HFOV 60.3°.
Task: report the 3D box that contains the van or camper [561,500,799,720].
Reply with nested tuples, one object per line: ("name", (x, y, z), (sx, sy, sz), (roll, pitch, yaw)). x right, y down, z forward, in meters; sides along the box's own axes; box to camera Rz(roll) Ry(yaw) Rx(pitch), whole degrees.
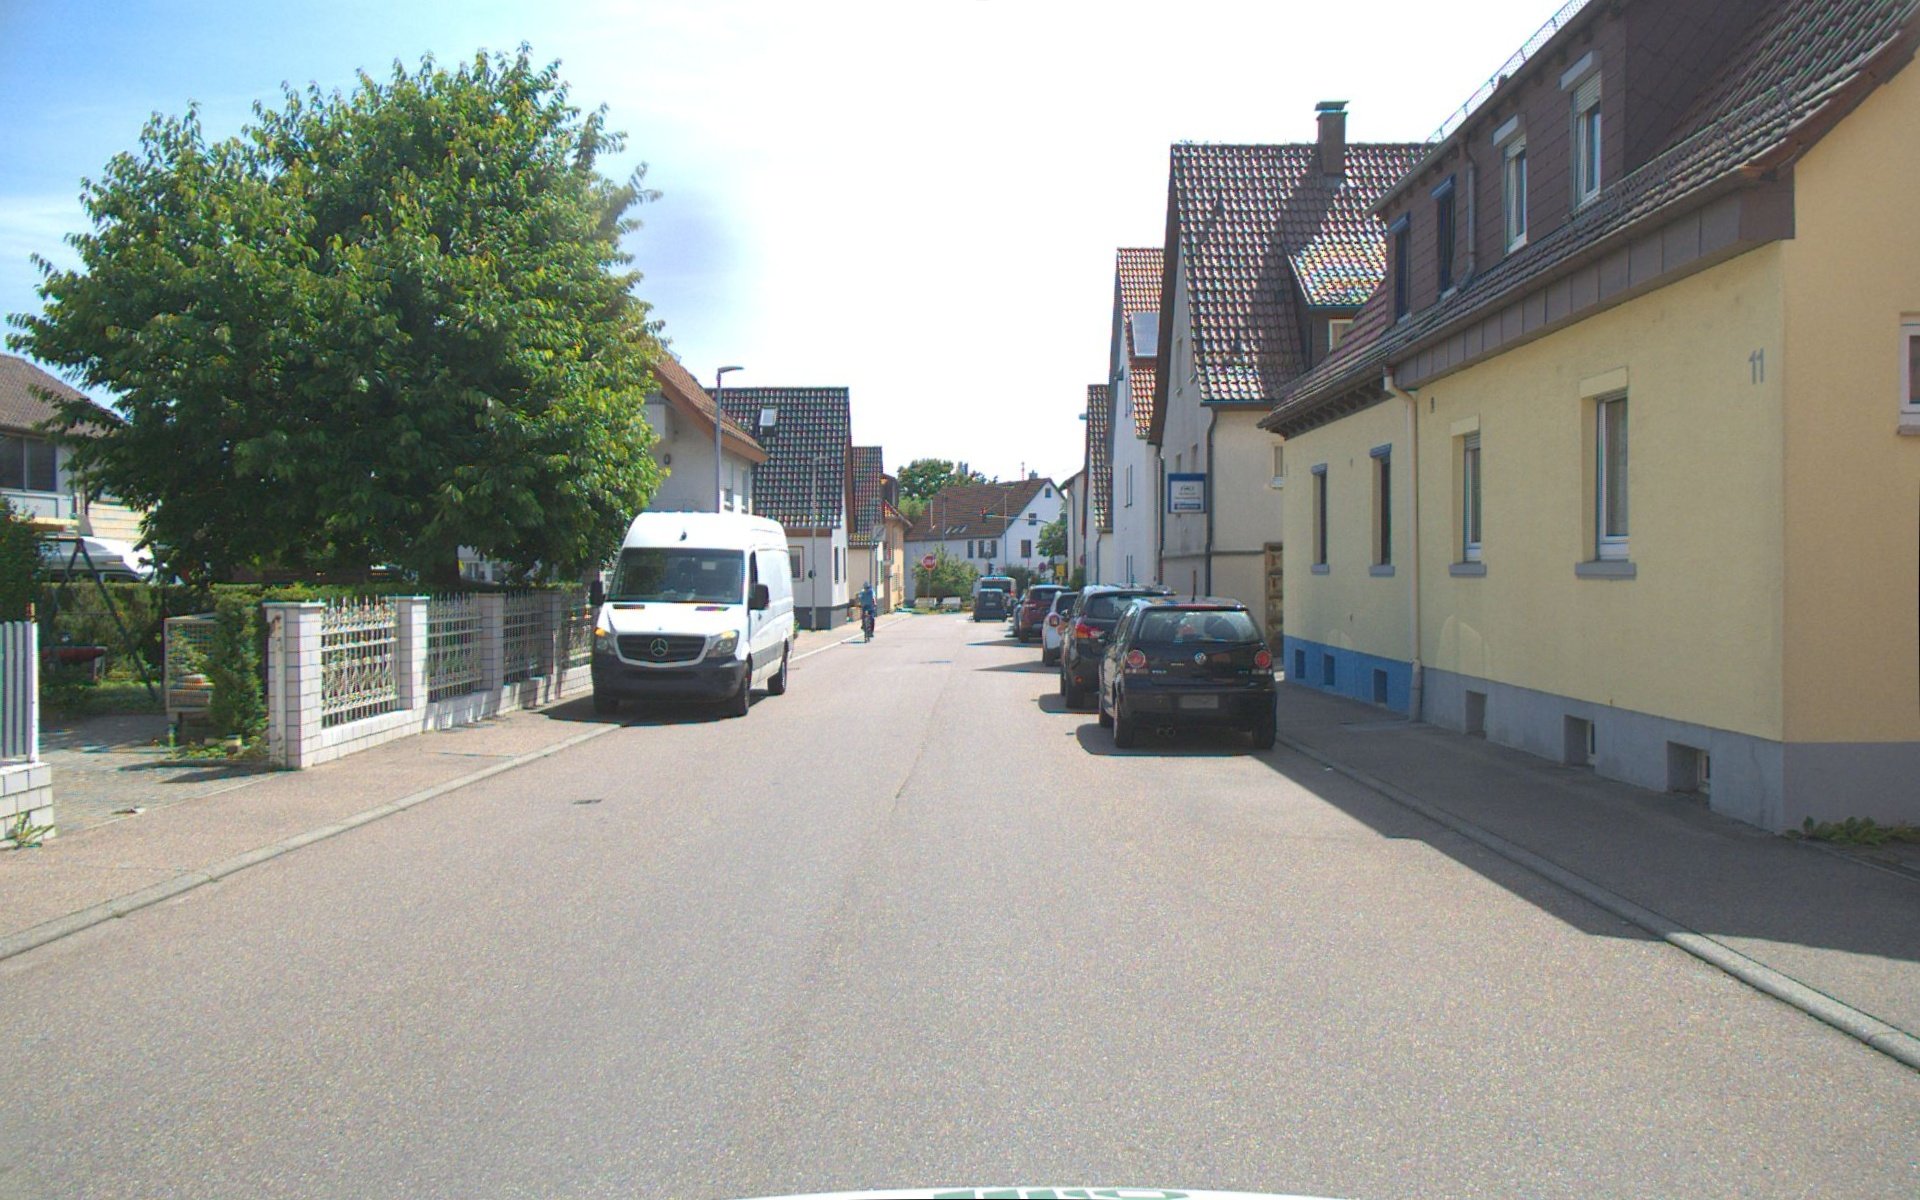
("van or camper", (-3.710, 0.100, 23.382), (2.139, 2.616, 6.807), (1, 0, 0))

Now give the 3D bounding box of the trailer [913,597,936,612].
("trailer", (-2.382, 0.324, 111.278), (1.470, 0.943, 1.012), (2, 0, 2))

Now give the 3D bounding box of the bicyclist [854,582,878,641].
("bicyclist", (-2.910, 0.353, 51.318), (0.698, 1.830, 0.942), (0, 0, -1))

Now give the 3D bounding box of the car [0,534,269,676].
("car", (-15.635, 0.085, 30.786), (4.705, 2.536, 1.965), (0, 0, -1))

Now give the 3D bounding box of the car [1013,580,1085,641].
("car", (2.667, 0.296, 50.318), (1.837, 1.730, 4.182), (1, 0, -1))

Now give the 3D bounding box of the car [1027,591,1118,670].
("car", (2.340, 0.611, 35.086), (1.640, 1.586, 3.039), (1, 0, -1))

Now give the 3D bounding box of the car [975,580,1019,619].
("car", (2.154, -0.045, 95.421), (2.083, 2.196, 4.740), (0, 0, 6))

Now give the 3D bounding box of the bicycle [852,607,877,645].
("bicycle", (-2.947, 0.791, 51.234), (0.656, 1.152, 2.189), (0, 0, 0))

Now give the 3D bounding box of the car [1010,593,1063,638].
("car", (2.585, 0.500, 56.304), (1.726, 1.448, 4.593), (0, 0, 2))

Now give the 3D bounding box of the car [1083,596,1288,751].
("car", (2.301, 0.698, 17.703), (1.578, 1.456, 3.753), (1, 0, -1))

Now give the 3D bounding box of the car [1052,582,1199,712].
("car", (2.226, 0.583, 23.145), (1.693, 1.627, 4.254), (1, 0, 1))

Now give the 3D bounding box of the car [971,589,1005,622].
("car", (1.378, 0.265, 81.216), (1.484, 1.594, 3.186), (1, 0, 4))
